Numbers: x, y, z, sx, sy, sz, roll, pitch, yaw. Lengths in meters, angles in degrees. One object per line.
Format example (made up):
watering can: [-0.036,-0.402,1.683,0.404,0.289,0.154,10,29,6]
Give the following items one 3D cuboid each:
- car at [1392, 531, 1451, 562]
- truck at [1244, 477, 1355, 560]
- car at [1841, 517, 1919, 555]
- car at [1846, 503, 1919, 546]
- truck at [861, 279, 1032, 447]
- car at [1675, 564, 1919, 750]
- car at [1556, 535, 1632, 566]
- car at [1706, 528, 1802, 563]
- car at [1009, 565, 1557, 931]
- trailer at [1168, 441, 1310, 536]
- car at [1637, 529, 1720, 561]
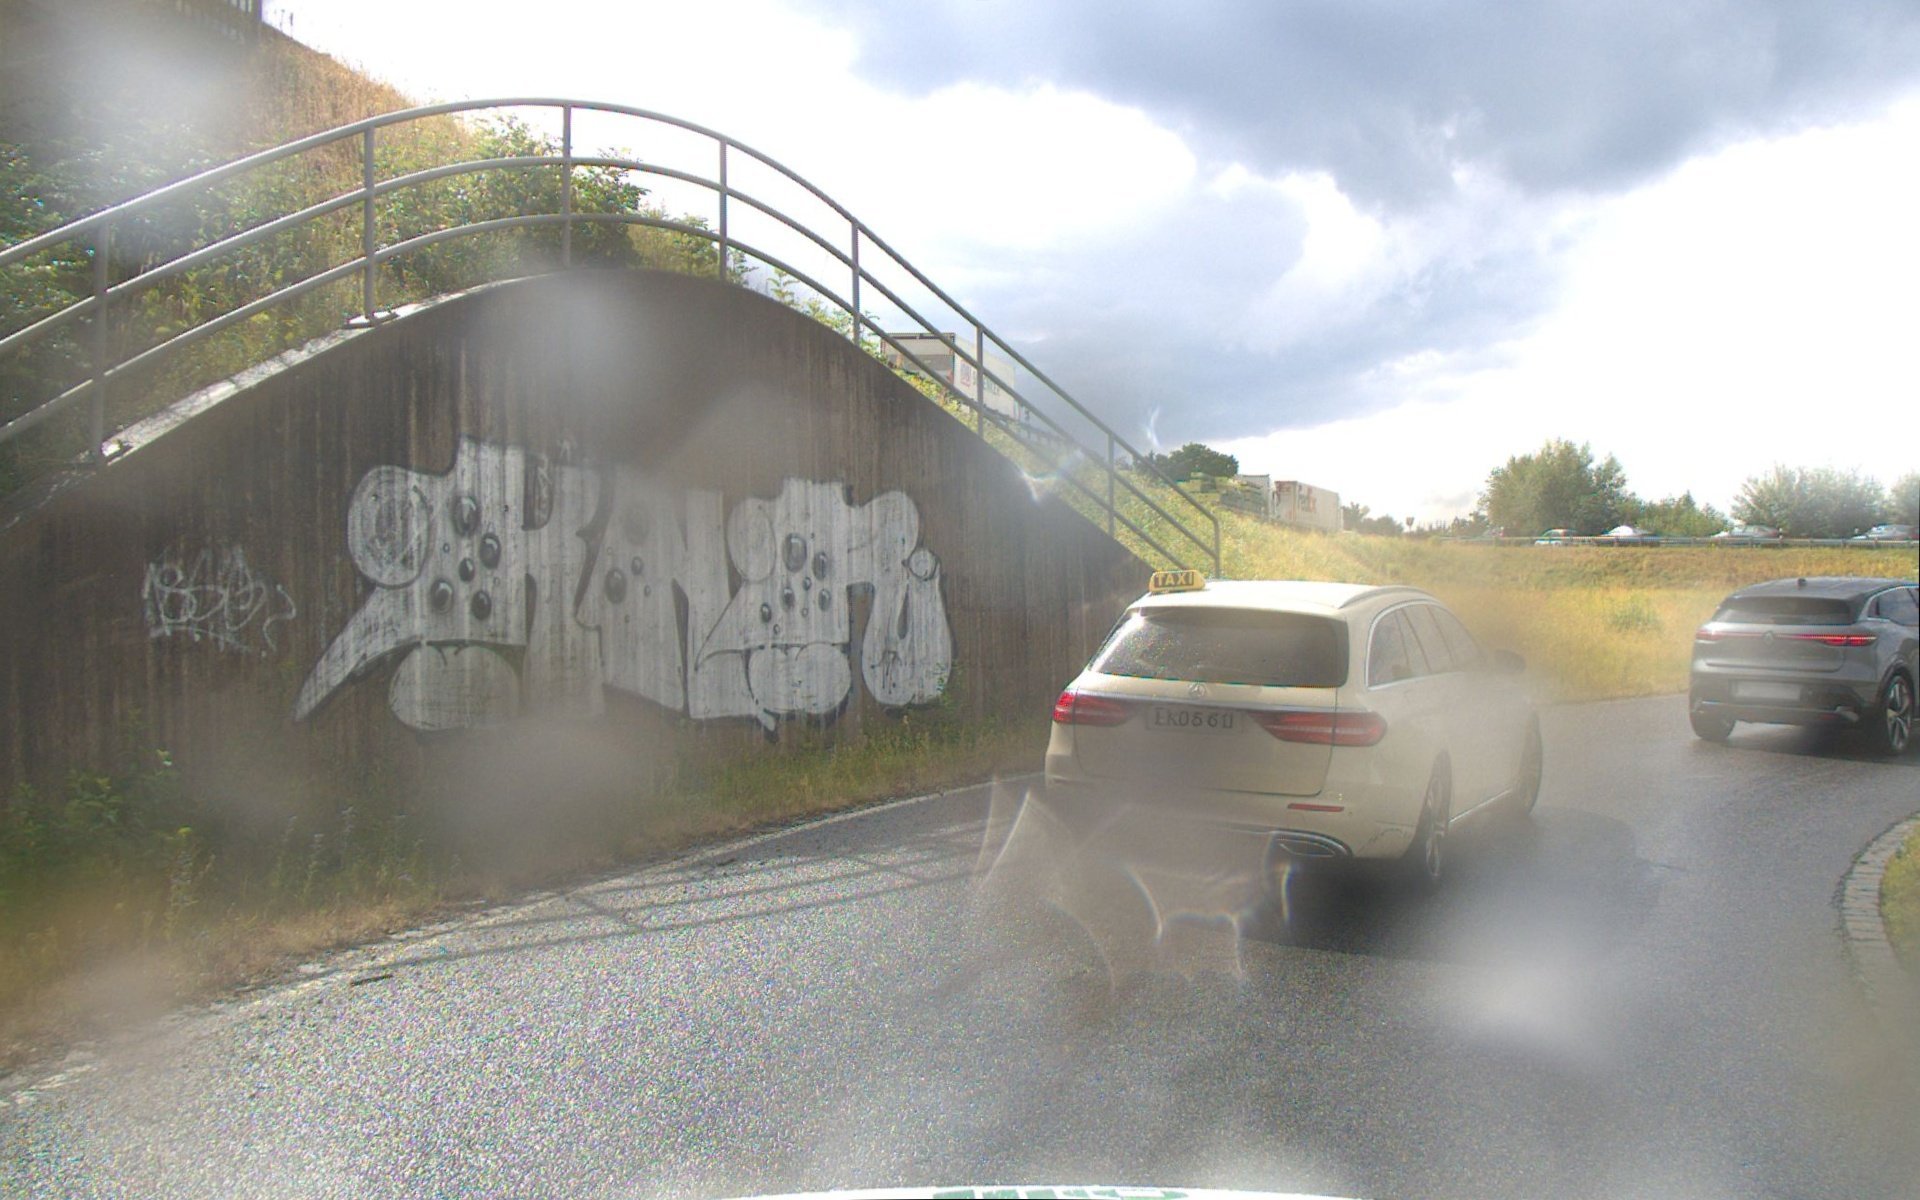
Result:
car: [32.806,-3.818,117.559,3.903,2.049,1.827,1,-1,17]
truck: [25.159,-5.738,121.323,4.370,4.582,19.370,1,-1,22]
car: [52.753,-3.578,93.643,1.966,1.894,5.023,0,0,-22]
car: [52.316,-4.215,93.025,1.974,2.049,3.956,1,-3,-32]
truck: [-0.244,-7.678,55.358,3.113,4.036,9.241,1,-1,17]
car: [8.519,0.448,15.783,3.968,1.551,1.697,-1,1,-43]
car: [43.849,-3.400,114.520,1.968,1.894,5.017,0,0,-25]
car: [48.248,-3.291,100.631,1.976,1.894,4.998,0,0,-33]
car: [2.104,0.589,9.410,1.879,1.533,4.591,0,1,27]
trailer: [17.805,-6.675,103.309,4.323,4.025,20.212,1,-1,22]
car: [46.114,-3.508,106.193,1.982,1.894,4.443,0,-1,-41]
